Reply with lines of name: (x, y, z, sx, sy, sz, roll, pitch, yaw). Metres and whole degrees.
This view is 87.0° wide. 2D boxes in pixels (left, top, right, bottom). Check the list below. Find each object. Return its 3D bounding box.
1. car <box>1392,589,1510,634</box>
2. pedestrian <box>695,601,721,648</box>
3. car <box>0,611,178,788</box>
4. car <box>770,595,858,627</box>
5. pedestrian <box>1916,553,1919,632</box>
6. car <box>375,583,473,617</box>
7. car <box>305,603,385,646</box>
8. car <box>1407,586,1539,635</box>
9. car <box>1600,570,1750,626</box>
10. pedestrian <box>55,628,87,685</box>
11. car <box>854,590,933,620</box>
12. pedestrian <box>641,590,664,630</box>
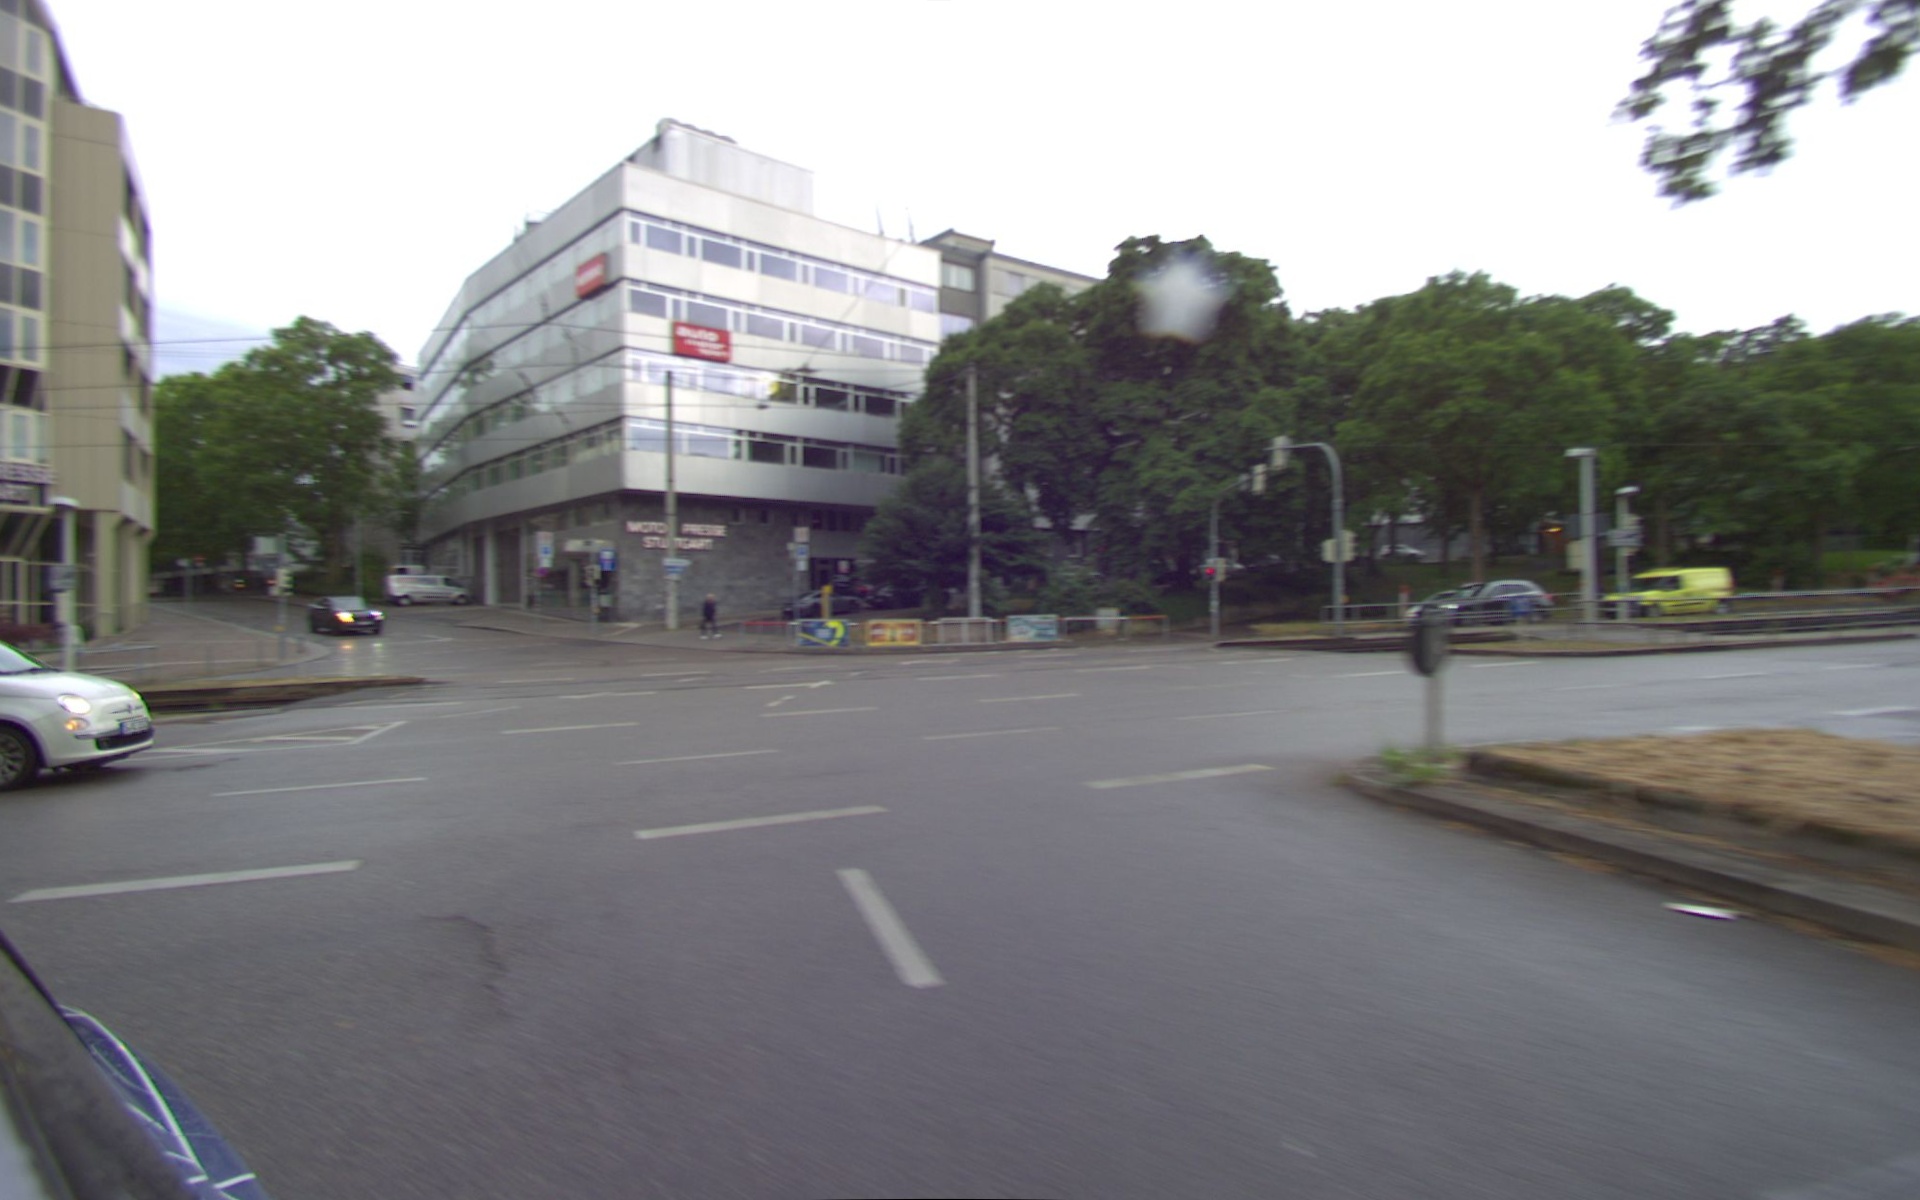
car: (18.712, 0.448, 38.628, 3.619, 1.557, 1.931, -2, -1, -14)
pedestrian: (-10.312, 0.988, 41.432, 0.709, 1.875, 0.850, -1, 1, -42)
car: (-9.260, 0.907, 8.903, 3.382, 1.445, 1.660, -2, -2, -15)
car: (-7.258, 0.542, 50.587, 1.880, 1.441, 4.034, -2, 0, 45)
pedestrian: (22.609, -0.201, 23.070, 0.853, 1.816, 0.875, -2, 0, -25)
car: (-34.388, -0.029, 64.988, 5.325, 2.029, 2.004, -1, -3, -37)
car: (-27.443, 1.045, 45.100, 1.970, 1.592, 4.891, -2, 3, -44)
car: (17.737, 0.373, 35.043, 3.619, 1.557, 1.931, -2, -1, -14)
car: (26.043, -0.059, 36.925, 4.490, 1.865, 1.931, -2, -1, -14)
pedestrian: (-26.954, 1.700, 30.682, 0.709, 1.651, 0.761, -1, 1, -42)
car: (-3.538, 0.277, 54.256, 1.880, 1.441, 3.942, -2, 0, 45)
pedestrian: (-14.769, 0.463, 48.671, 0.748, 1.874, 0.721, -4, 2, -39)
